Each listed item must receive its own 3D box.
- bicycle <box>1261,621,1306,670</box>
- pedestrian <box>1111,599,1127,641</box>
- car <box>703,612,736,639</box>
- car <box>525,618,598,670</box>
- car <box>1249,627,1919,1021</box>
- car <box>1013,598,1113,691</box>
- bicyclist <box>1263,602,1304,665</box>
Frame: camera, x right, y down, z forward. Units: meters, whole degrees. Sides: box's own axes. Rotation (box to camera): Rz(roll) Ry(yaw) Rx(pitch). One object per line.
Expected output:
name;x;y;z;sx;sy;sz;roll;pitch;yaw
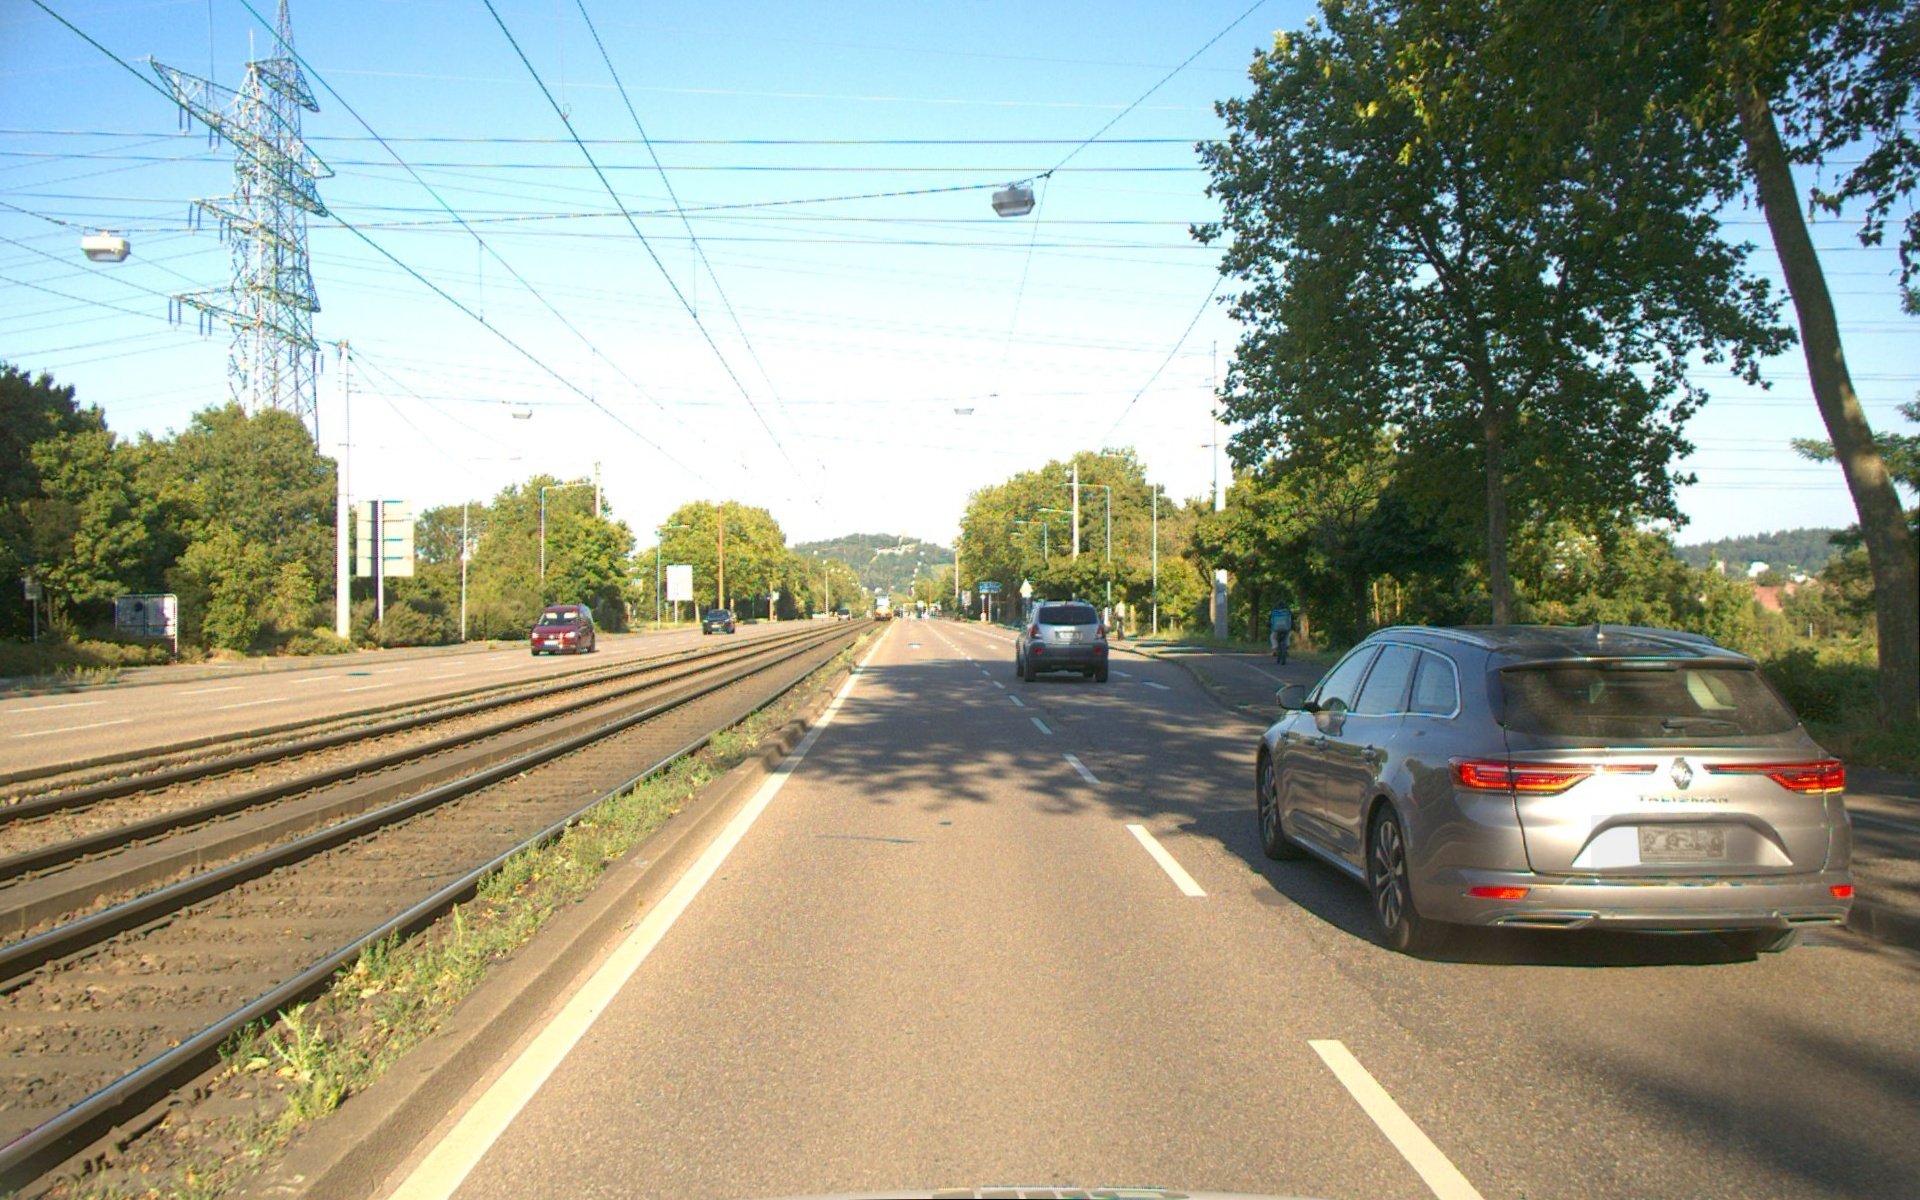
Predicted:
bicycle;8.109;1.131;41.485;0.778;1.113;1.895;-3;1;2
pedestrian;7.394;0.918;77.007;0.613;1.904;0.623;1;1;-2
car;-16.405;1.739;112.894;1.867;1.672;3.998;1;1;-3
car;-14.880;1.623;61.979;1.825;1.750;3.999;0;1;-1
car;2.854;0.897;8.706;1.828;1.493;4.665;0;-1;0
car;2.226;0.934;36.702;1.845;1.827;3.999;1;1;-1
bicyclist;8.094;0.826;41.369;0.778;1.485;1.112;-3;1;2
